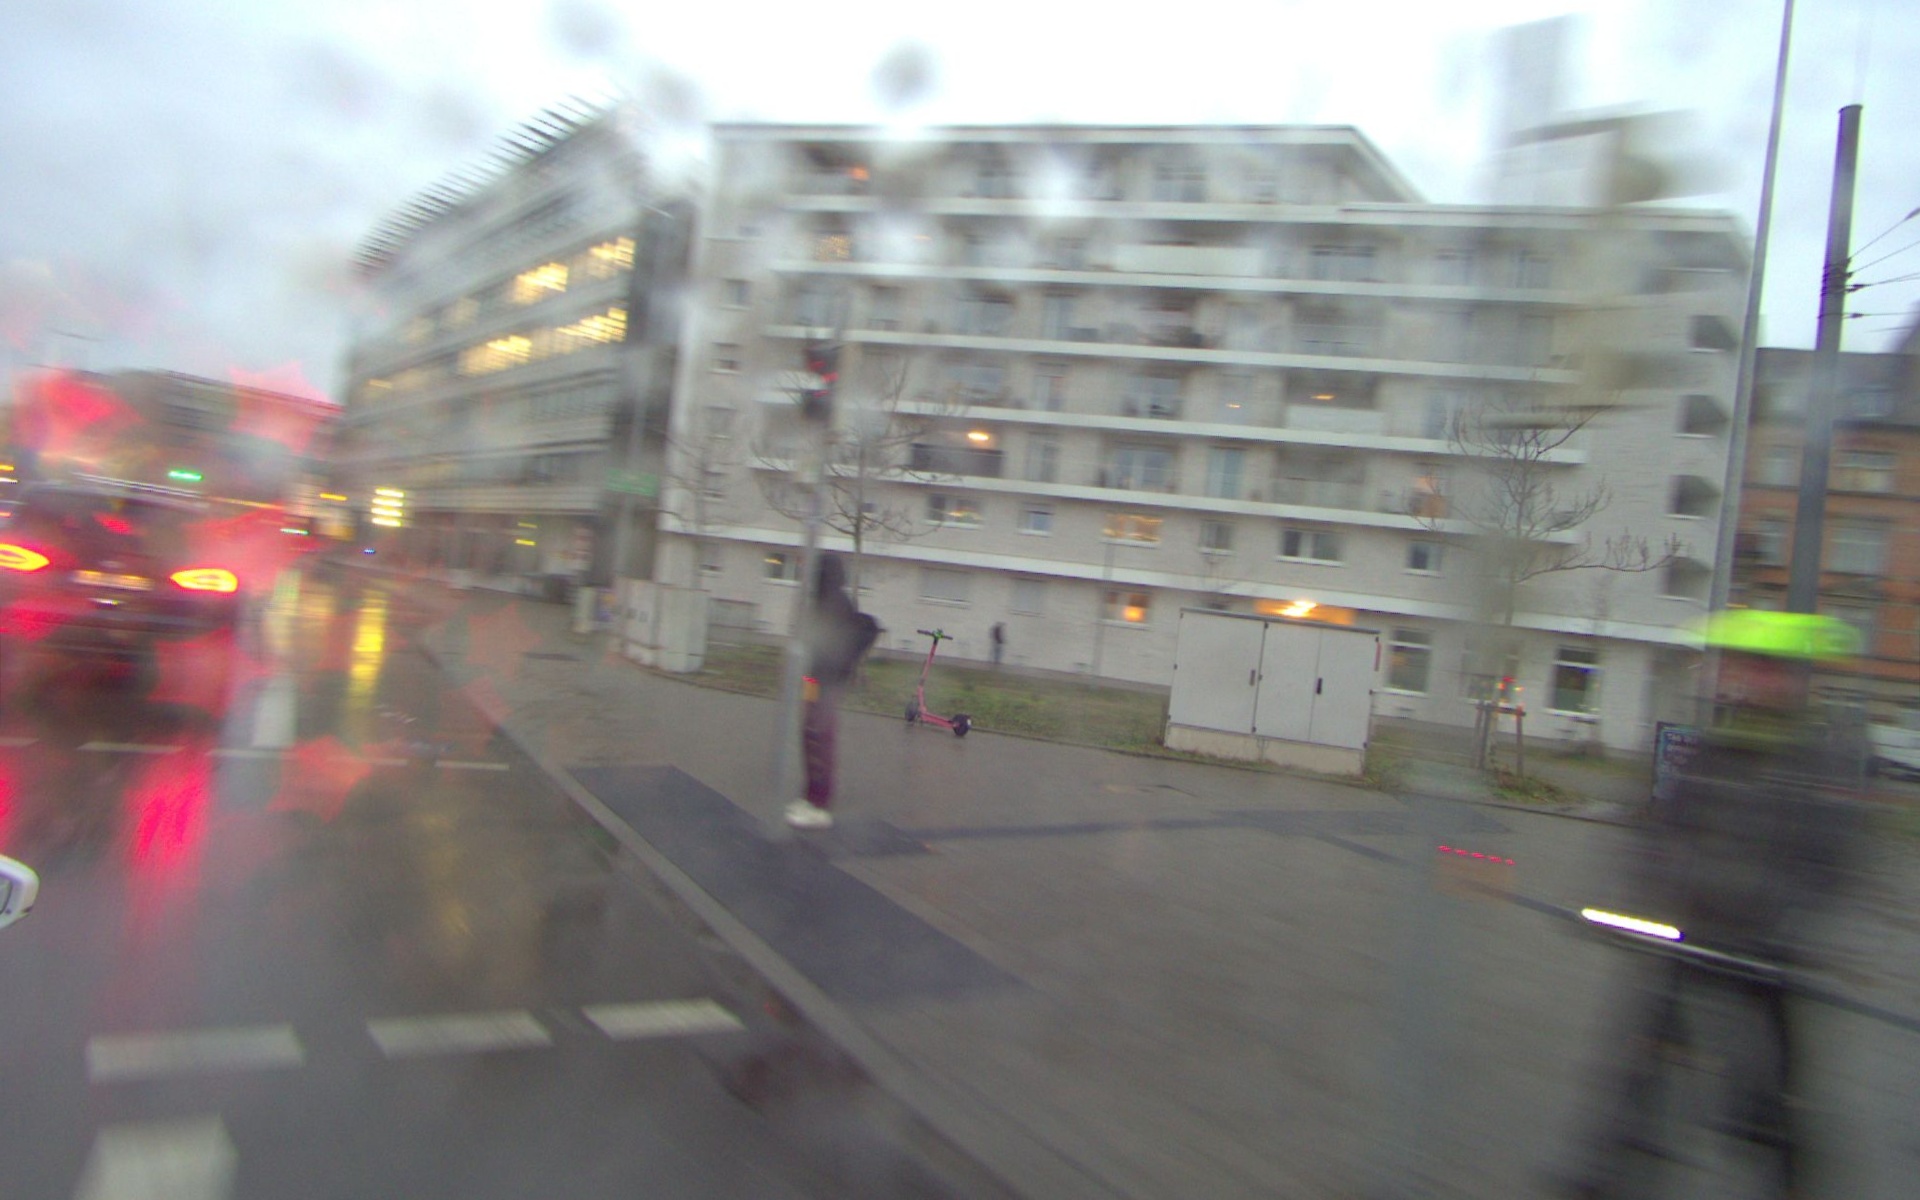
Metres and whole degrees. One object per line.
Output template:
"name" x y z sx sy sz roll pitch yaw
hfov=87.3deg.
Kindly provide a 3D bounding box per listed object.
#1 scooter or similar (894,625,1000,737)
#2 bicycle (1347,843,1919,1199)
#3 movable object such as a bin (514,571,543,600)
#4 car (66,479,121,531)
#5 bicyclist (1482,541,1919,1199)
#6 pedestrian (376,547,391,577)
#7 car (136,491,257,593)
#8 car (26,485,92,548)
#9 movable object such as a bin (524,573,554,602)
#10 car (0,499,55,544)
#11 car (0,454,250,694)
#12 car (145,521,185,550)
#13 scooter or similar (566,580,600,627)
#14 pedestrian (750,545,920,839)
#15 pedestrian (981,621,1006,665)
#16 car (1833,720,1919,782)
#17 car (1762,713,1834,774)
"scooter or similar" -0.176 0.990 12.500 1.291 1.221 0.332 6 -1 42
"bicycle" 2.185 1.344 2.962 1.838 0.985 0.655 7 -1 -15
"movable object such as a bin" -21.359 -0.702 49.822 1.152 1.310 0.842 6 1 42
"car" -55.941 -6.081 65.028 2.346 2.860 6.288 8 -2 -40
"bicyclist" 2.321 0.869 2.915 0.974 1.913 0.791 7 0 -15
"pedestrian" -35.019 -2.309 61.104 0.528 1.703 0.737 7 -1 -38
"car" -17.093 -1.289 22.588 1.835 1.827 4.441 8 -2 -37
"car" -41.851 -3.864 46.766 1.987 2.456 5.904 8 -1 -42
"movable object such as a bin" -20.504 -0.612 48.962 1.152 1.310 0.842 6 1 42
"car" -36.914 -3.108 39.544 1.631 1.514 3.645 8 -1 -39
"car" -8.209 -0.266 10.002 1.665 1.800 3.961 8 -1 -36
"car" -42.909 -3.469 54.344 1.504 1.321 3.010 8 -1 -37
"scooter or similar" -10.877 0.098 29.016 0.661 1.241 1.548 6 -2 -25
"pedestrian" -0.868 0.625 7.070 0.625 1.900 0.773 7 0 35
"pedestrian" 1.316 1.684 39.954 0.622 1.652 0.720 7 0 -14
"car" 40.768 6.606 43.044 4.572 2.215 2.002 7 -1 11
"car" 32.974 5.612 39.670 1.915 1.965 4.581 6 -1 39
